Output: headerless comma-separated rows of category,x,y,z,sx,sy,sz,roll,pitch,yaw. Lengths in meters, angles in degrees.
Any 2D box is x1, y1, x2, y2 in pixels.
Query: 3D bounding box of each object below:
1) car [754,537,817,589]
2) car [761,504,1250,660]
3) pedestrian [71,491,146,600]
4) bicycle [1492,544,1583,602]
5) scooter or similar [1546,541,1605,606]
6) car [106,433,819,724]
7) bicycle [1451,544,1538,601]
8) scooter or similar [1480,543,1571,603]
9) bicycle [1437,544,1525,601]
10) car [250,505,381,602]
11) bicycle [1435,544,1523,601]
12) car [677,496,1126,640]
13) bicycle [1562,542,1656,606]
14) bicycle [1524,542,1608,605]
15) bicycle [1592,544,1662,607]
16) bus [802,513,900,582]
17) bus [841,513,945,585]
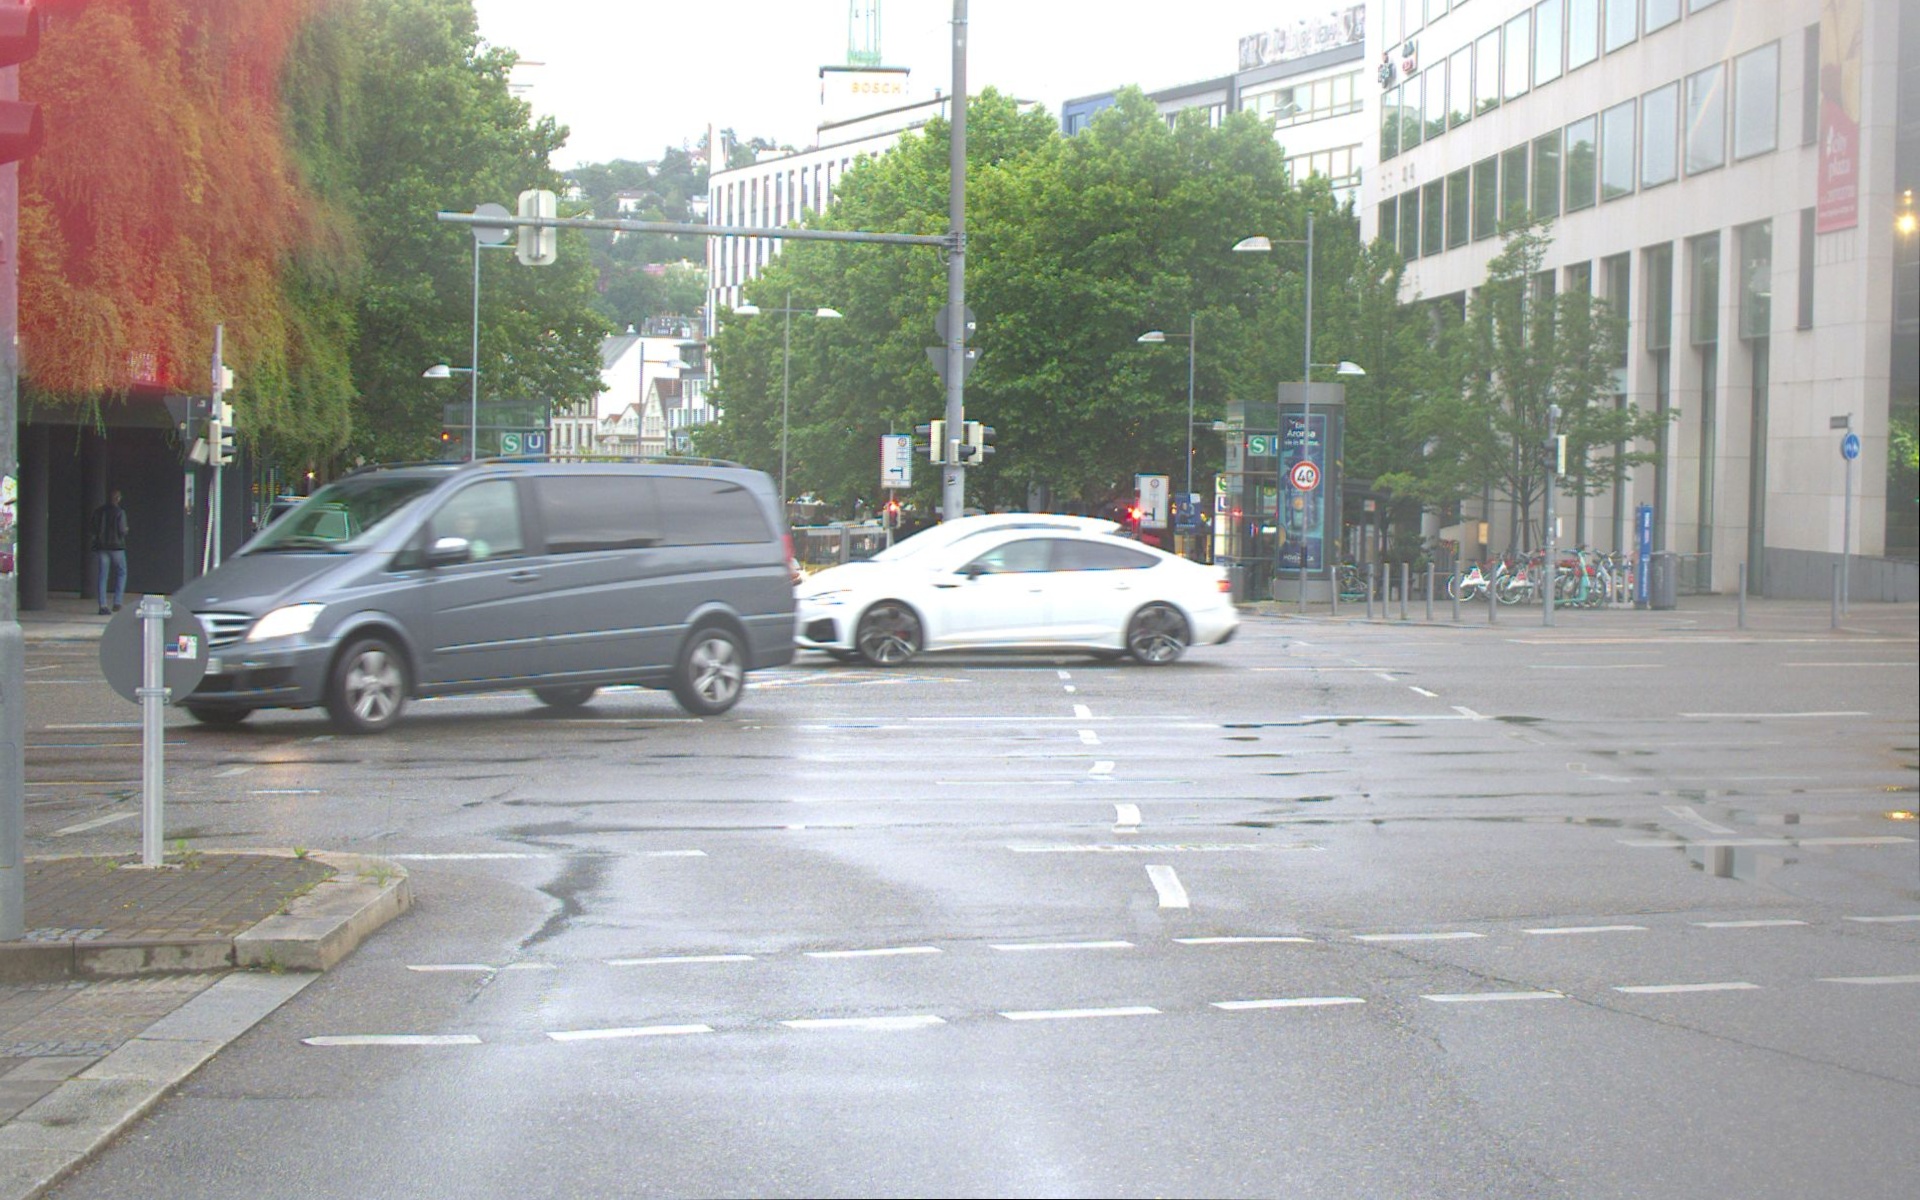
car,-6.456,-1.380,126.734,2.164,1.759,5.113,3,1,-4
car,0.451,-0.178,35.298,4.682,1.507,1.811,1,1,-16
pedestrian,-12.968,-0.829,52.370,0.933,1.638,0.774,1,0,-1
bicycle,12.027,-0.559,71.605,1.777,1.190,0.586,1,0,2
scooter or similar,11.485,-0.492,64.158,0.963,1.190,0.454,1,1,40
car,-3.526,-0.151,25.135,1.999,1.920,4.952,1,1,44
bicycle,11.557,-0.592,74.326,1.777,1.190,0.586,1,0,2
scooter or similar,11.674,-0.558,70.982,1.777,1.190,0.586,1,0,2
bicycle,11.128,-0.589,73.408,1.777,1.190,0.586,1,0,2
car,-12.773,-0.918,68.329,1.870,1.833,4.000,1,1,-1
bicycle,10.980,-0.585,72.774,1.777,1.190,0.586,1,0,2
car,-0.667,-0.343,38.297,4.682,1.507,1.811,1,1,-16
bicycle,12.239,-0.489,64.843,1.624,1.190,0.586,1,0,26
bicycle,11.696,-0.512,66.395,0.584,1.190,1.784,1,1,-28
bicycle,12.999,-0.473,66.953,0.586,1.190,1.779,1,1,38
bus,-4.911,-2.355,153.086,2.627,2.985,7.451,0,1,-16
bus,-2.897,-2.194,145.940,2.627,2.985,7.451,0,1,-16
